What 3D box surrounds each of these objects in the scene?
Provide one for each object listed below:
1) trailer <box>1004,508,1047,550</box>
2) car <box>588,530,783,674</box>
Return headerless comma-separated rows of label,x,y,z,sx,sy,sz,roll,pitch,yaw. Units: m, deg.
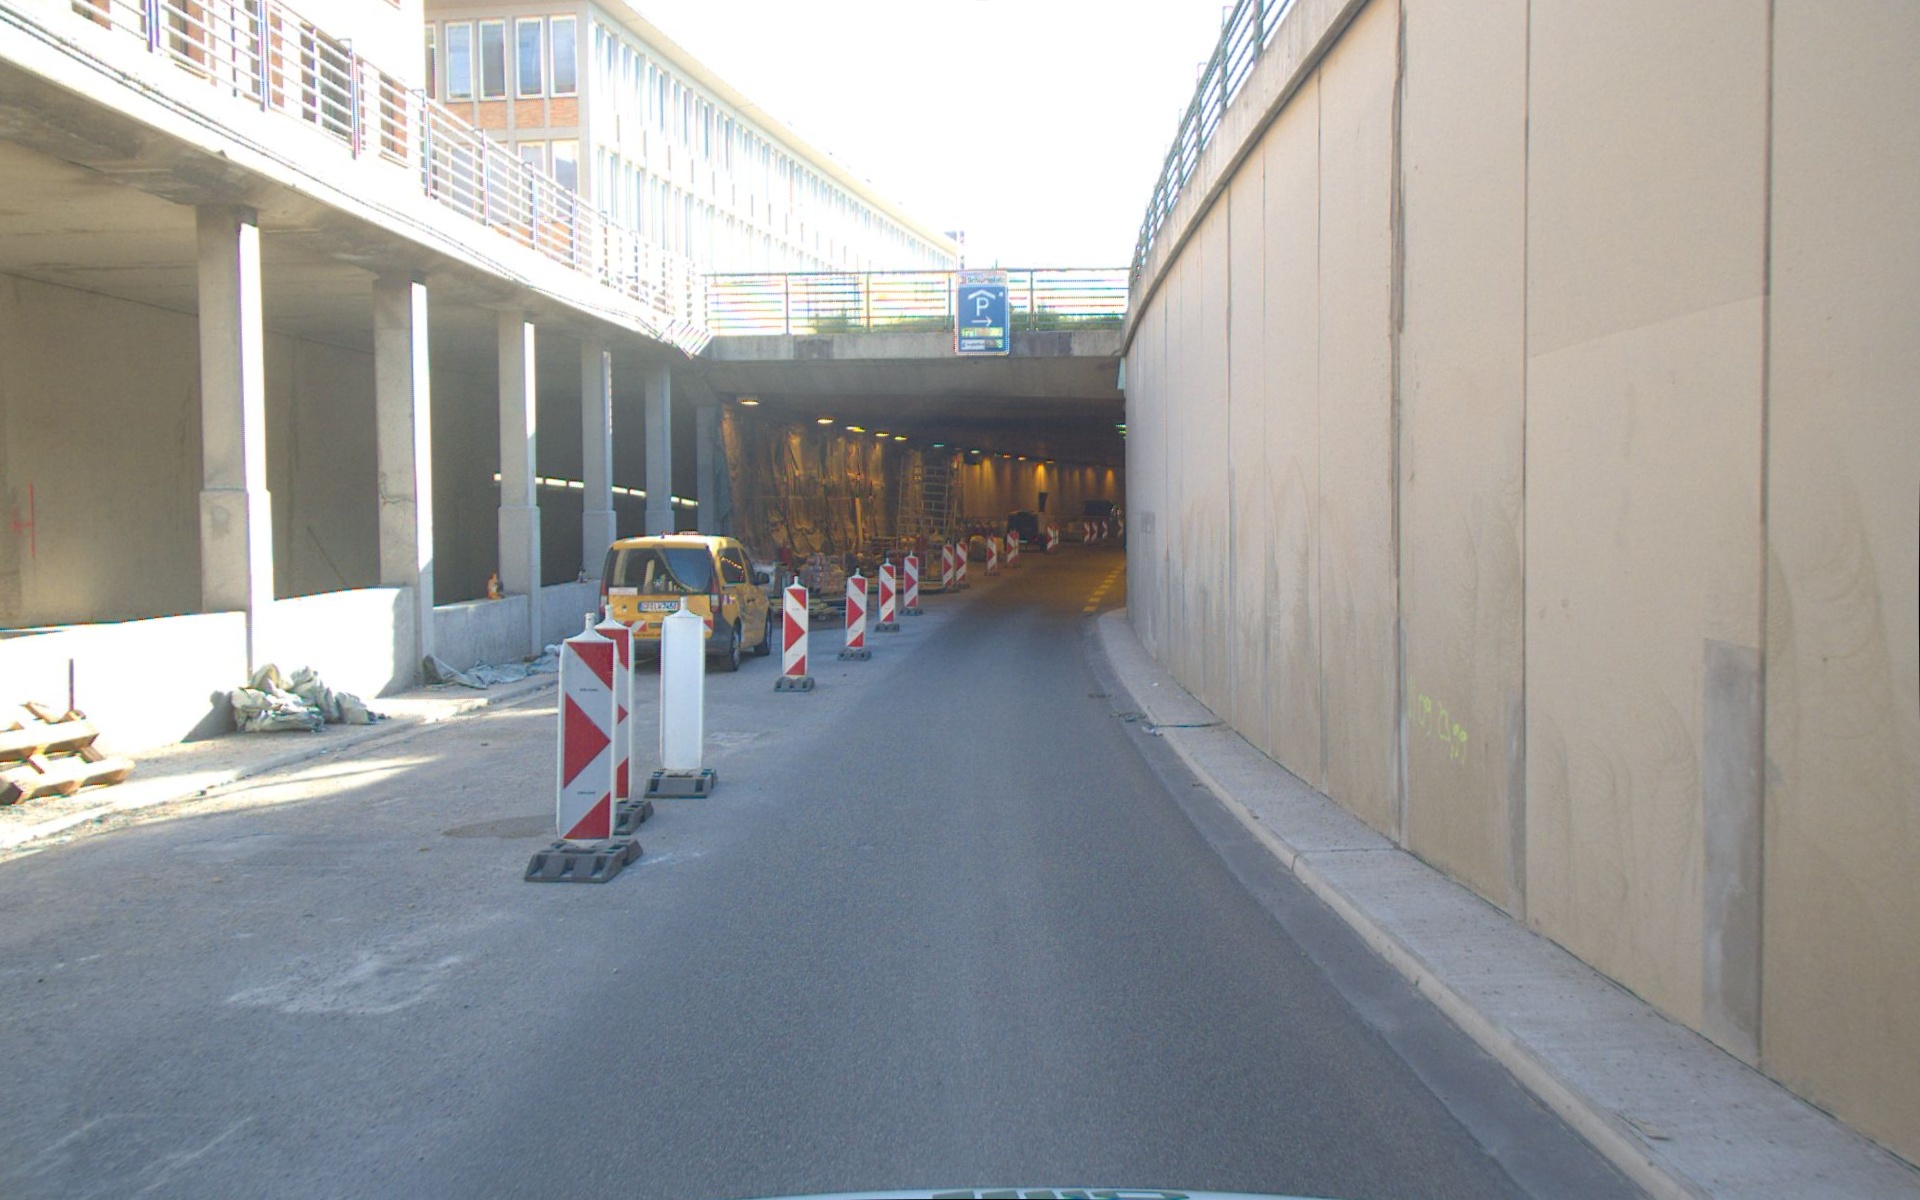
trailer,2.937,-3.194,73.738,1.547,1.829,2.943,1,3,9
car,-3.739,-0.067,23.329,1.809,1.806,4.437,0,3,3
